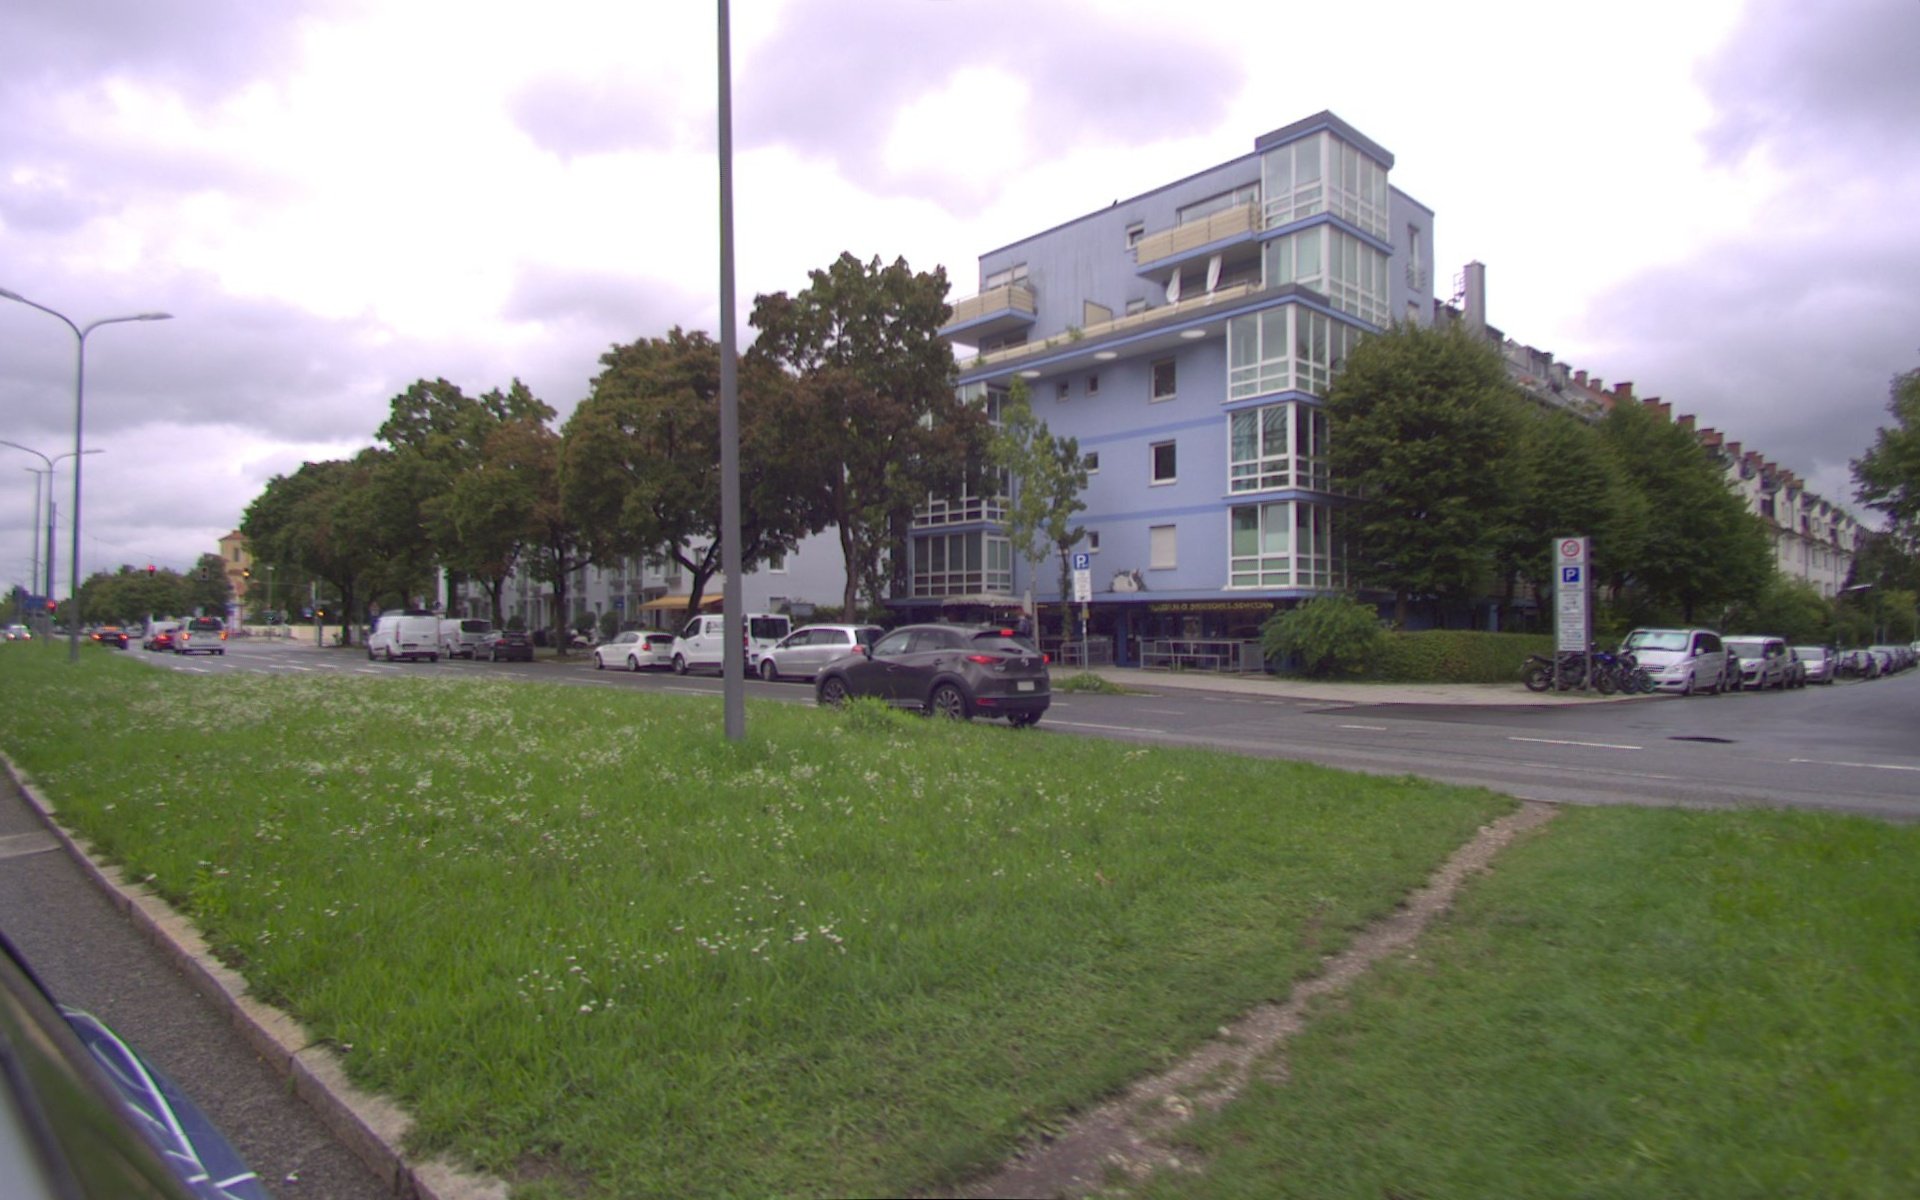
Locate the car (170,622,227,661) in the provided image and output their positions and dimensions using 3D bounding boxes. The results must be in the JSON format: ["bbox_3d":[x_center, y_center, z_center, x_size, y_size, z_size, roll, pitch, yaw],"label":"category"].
[{"bbox_3d":[-41.087,2.216,54.583,1.917,2.013,4.708,2,-3,-43],"label":"car"}]

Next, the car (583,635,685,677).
[{"bbox_3d":[-11.707,1.957,36.192,4.337,1.405,1.656,-2,-3,45],"label":"car"}]

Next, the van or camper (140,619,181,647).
[{"bbox_3d":[-53.261,2.200,67.424,1.770,1.811,4.128,2,-3,-43],"label":"van or camper"}]

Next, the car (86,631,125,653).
[{"bbox_3d":[-56.482,2.763,66.870,1.736,1.459,3.675,2,-3,-43],"label":"car"}]

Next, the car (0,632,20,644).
[{"bbox_3d":[-104.737,4.182,111.611,1.567,1.276,3.738,2,-3,-43],"label":"car"}]

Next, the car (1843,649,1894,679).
[{"bbox_3d":[51.528,3.604,57.378,1.938,1.605,3.941,-2,-3,44],"label":"car"}]

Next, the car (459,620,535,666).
[{"bbox_3d":[-21.152,1.935,46.138,1.775,2.013,4.550,2,-3,-43],"label":"car"}]

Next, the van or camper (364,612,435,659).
[{"bbox_3d":[-31.852,2.017,57.435,2.026,2.506,5.552,2,-3,-45],"label":"van or camper"}]

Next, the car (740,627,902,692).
[{"bbox_3d":[-3.867,1.575,27.726,4.658,1.628,1.682,-1,-3,38],"label":"car"}]

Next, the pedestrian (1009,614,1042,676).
[{"bbox_3d":[1.949,1.331,30.204,0.780,1.819,0.635,-2,-3,44],"label":"pedestrian"}]

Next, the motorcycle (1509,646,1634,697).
[{"bbox_3d":[14.395,1.661,23.903,2.463,1.141,0.494,-1,-2,25],"label":"motorcycle"}]

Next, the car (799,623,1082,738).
[{"bbox_3d":[-0.418,1.115,15.317,1.934,1.491,4.263,2,-3,-43],"label":"car"}]

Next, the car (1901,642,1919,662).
[{"bbox_3d":[78.779,4.286,83.169,1.938,1.605,3.941,-2,-3,44],"label":"car"}]

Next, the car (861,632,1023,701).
[{"bbox_3d":[-0.486,1.530,24.233,3.904,1.501,1.628,-2,-3,44],"label":"car"}]

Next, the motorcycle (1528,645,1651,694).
[{"bbox_3d":[15.304,1.667,24.677,2.459,1.141,0.495,-1,-2,19],"label":"motorcycle"}]

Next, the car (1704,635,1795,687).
[{"bbox_3d":[27.572,2.071,35.297,2.001,1.695,4.199,-2,-3,44],"label":"car"}]

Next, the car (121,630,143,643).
[{"bbox_3d":[-123.242,5.418,150.617,2.115,1.904,4.002,2,-3,-45],"label":"car"}]

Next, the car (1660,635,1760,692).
[{"bbox_3d":[24.188,1.993,32.598,2.001,1.695,4.199,-2,-3,44],"label":"car"}]

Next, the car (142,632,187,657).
[{"bbox_3d":[-47.769,2.636,60.756,1.770,1.459,3.675,2,-3,-43],"label":"car"}]

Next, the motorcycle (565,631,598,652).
[{"bbox_3d":[-22.010,2.425,58.933,0.464,1.179,1.789,-2,-3,41],"label":"motorcycle"}]

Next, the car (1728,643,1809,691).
[{"bbox_3d":[30.977,2.511,38.755,2.001,1.695,3.941,-2,-3,44],"label":"car"}]

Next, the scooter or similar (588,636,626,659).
[{"bbox_3d":[-17.067,2.280,49.005,0.567,1.021,1.781,-1,-1,31],"label":"scooter or similar"}]

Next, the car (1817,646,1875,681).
[{"bbox_3d":[44.587,3.159,50.881,1.938,1.605,3.941,-2,-3,44],"label":"car"}]

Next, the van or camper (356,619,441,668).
[{"bbox_3d":[-24.798,1.898,44.614,1.992,2.031,5.202,2,-3,-44],"label":"van or camper"}]

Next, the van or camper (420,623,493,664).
[{"bbox_3d":[-25.143,2.133,50.462,1.997,1.957,4.708,2,-3,-43],"label":"van or camper"}]

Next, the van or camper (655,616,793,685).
[{"bbox_3d":[-7.471,1.527,31.696,1.784,1.983,5.214,2,-3,-44],"label":"van or camper"}]

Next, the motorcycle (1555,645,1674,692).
[{"bbox_3d":[16.518,1.713,25.596,2.457,1.141,0.495,0,-2,18],"label":"motorcycle"}]

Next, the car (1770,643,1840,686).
[{"bbox_3d":[36.470,2.735,43.653,2.001,1.695,3.941,-2,-3,44],"label":"car"}]

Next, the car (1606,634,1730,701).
[{"bbox_3d":[19.726,1.792,28.107,2.001,1.695,5.043,-2,-3,44],"label":"car"}]
